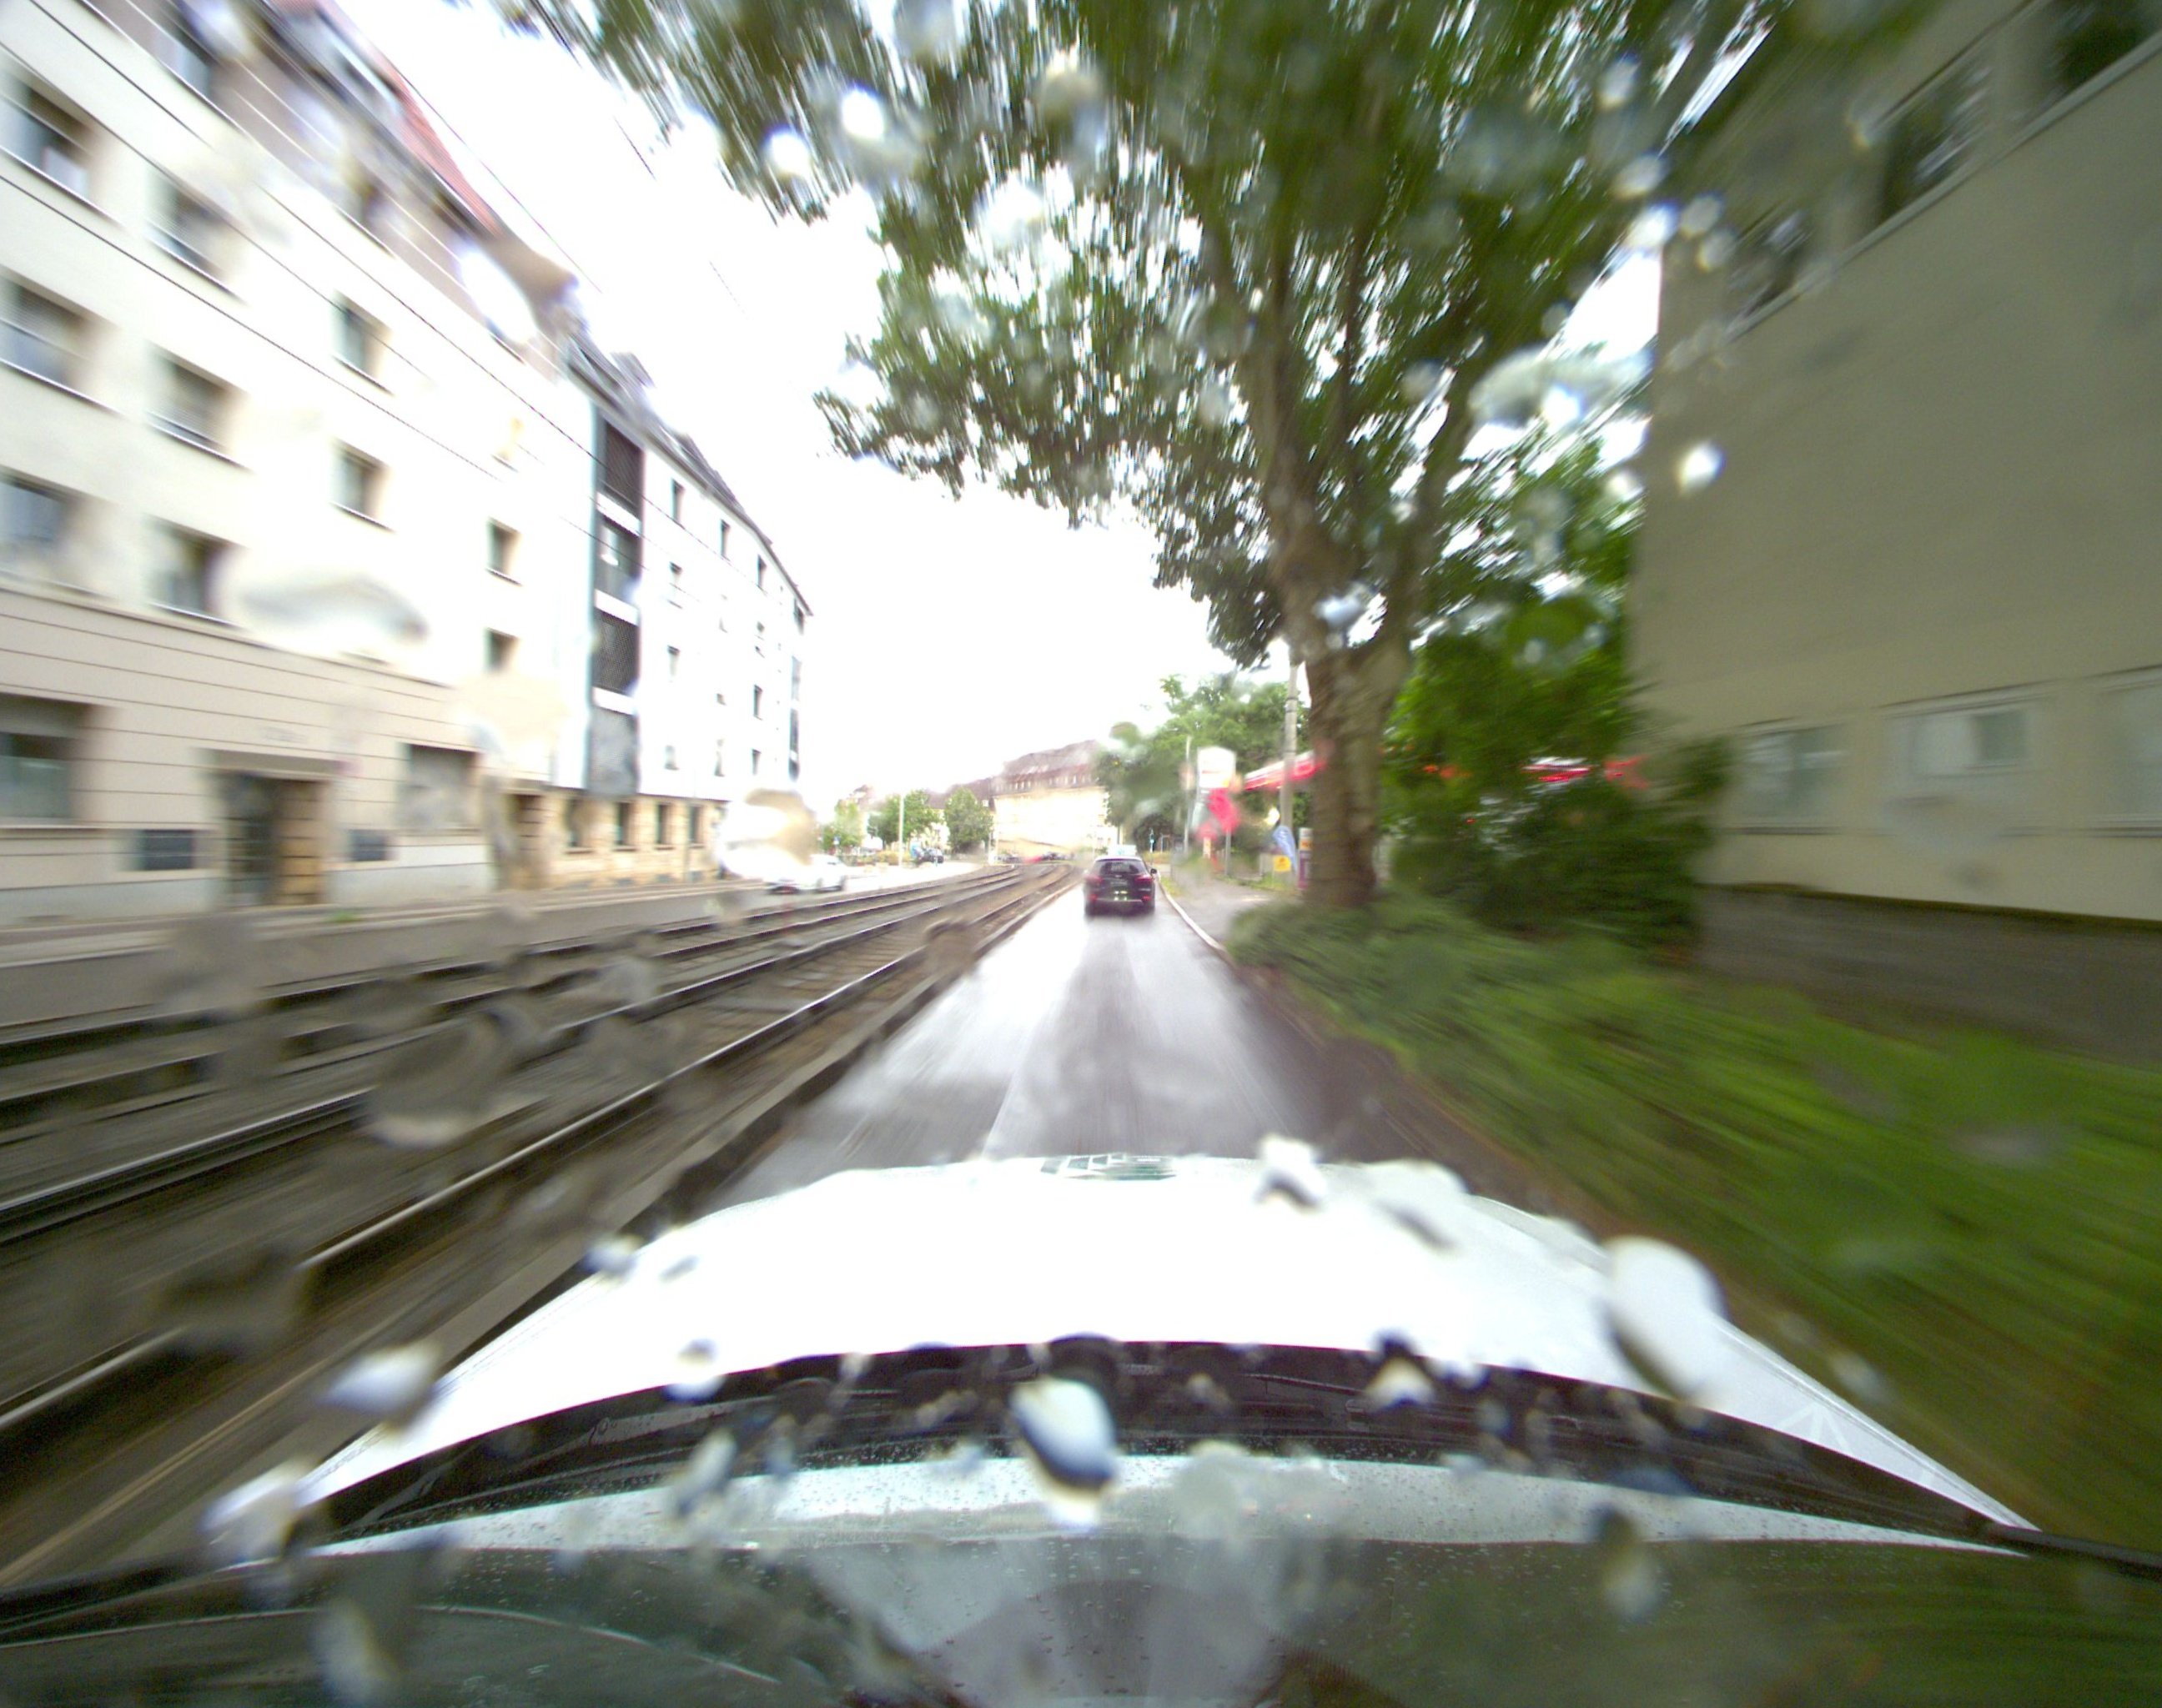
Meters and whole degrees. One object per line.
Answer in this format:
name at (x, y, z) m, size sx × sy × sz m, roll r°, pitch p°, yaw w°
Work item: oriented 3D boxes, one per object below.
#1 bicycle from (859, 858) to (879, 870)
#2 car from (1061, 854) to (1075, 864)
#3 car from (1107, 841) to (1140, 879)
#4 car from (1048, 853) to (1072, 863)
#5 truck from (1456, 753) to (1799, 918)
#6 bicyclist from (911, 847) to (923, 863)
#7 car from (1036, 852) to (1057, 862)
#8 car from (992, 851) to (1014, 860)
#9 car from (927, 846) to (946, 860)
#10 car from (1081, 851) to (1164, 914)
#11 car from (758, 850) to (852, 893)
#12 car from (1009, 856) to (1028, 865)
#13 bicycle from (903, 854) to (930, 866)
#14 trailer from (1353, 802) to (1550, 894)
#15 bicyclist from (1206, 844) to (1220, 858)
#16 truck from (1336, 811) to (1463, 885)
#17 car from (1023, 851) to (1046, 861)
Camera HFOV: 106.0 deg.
bicycle at (-20.635, 0.970, 79.227) m, size 1.808 × 1.061 × 0.570 m, roll 1°, pitch -1°, yaw -2°
car at (-1.897, 0.723, 122.376) m, size 1.656 × 1.476 × 3.634 m, roll 1°, pitch -1°, yaw -8°
car at (2.384, 0.334, 45.490) m, size 1.733 × 2.014 × 3.907 m, roll 1°, pitch -1°, yaw 3°
car at (-3.292, 0.622, 126.078) m, size 2.007 × 1.542 × 3.958 m, roll 2°, pitch -1°, yaw -34°
truck at (14.650, -0.424, 23.524) m, size 3.908 × 3.677 × 10.393 m, roll 0°, pitch 0°, yaw 6°
bicyclist at (-13.854, 0.083, 68.741) m, size 0.777 × 1.313 × 0.782 m, roll 0°, pitch 0°, yaw -36°
car at (-5.610, 0.401, 131.100) m, size 1.592 × 1.542 × 3.958 m, roll 2°, pitch -1°, yaw -33°
car at (-13.745, 0.212, 143.768) m, size 2.010 × 1.542 × 3.953 m, roll 2°, pitch -1°, yaw -40°
car at (-16.592, -0.148, 93.567) m, size 1.993 × 1.542 × 3.988 m, roll 1°, pitch -1°, yaw -9°
car at (1.002, 0.703, 21.743) m, size 1.927 × 1.453 × 4.316 m, roll 2°, pitch -1°, yaw 0°
car at (-10.510, 0.633, 31.416) m, size 1.792 × 1.482 × 4.842 m, roll 1°, pitch -1°, yaw 2°
car at (-10.826, 1.044, 140.130) m, size 2.004 × 1.542 × 3.966 m, roll 0°, pitch 0°, yaw -26°
bicycle at (-13.863, 0.509, 68.782) m, size 2.115 × 0.943 × 0.806 m, roll 0°, pitch 0°, yaw -37°
trailer at (16.190, -0.267, 37.153) m, size 3.884 × 3.506 × 11.789 m, roll 0°, pitch 0°, yaw 1°
bicyclist at (11.814, -0.254, 72.808) m, size 0.740 × 1.179 × 1.068 m, roll 0°, pitch 0°, yaw -26°
truck at (16.287, -0.273, 42.319) m, size 3.890 × 3.517 × 6.978 m, roll 0°, pitch 0°, yaw 0°
car at (-7.747, 0.351, 135.478) m, size 2.008 × 1.542 × 3.957 m, roll 2°, pitch -1°, yaw -35°
